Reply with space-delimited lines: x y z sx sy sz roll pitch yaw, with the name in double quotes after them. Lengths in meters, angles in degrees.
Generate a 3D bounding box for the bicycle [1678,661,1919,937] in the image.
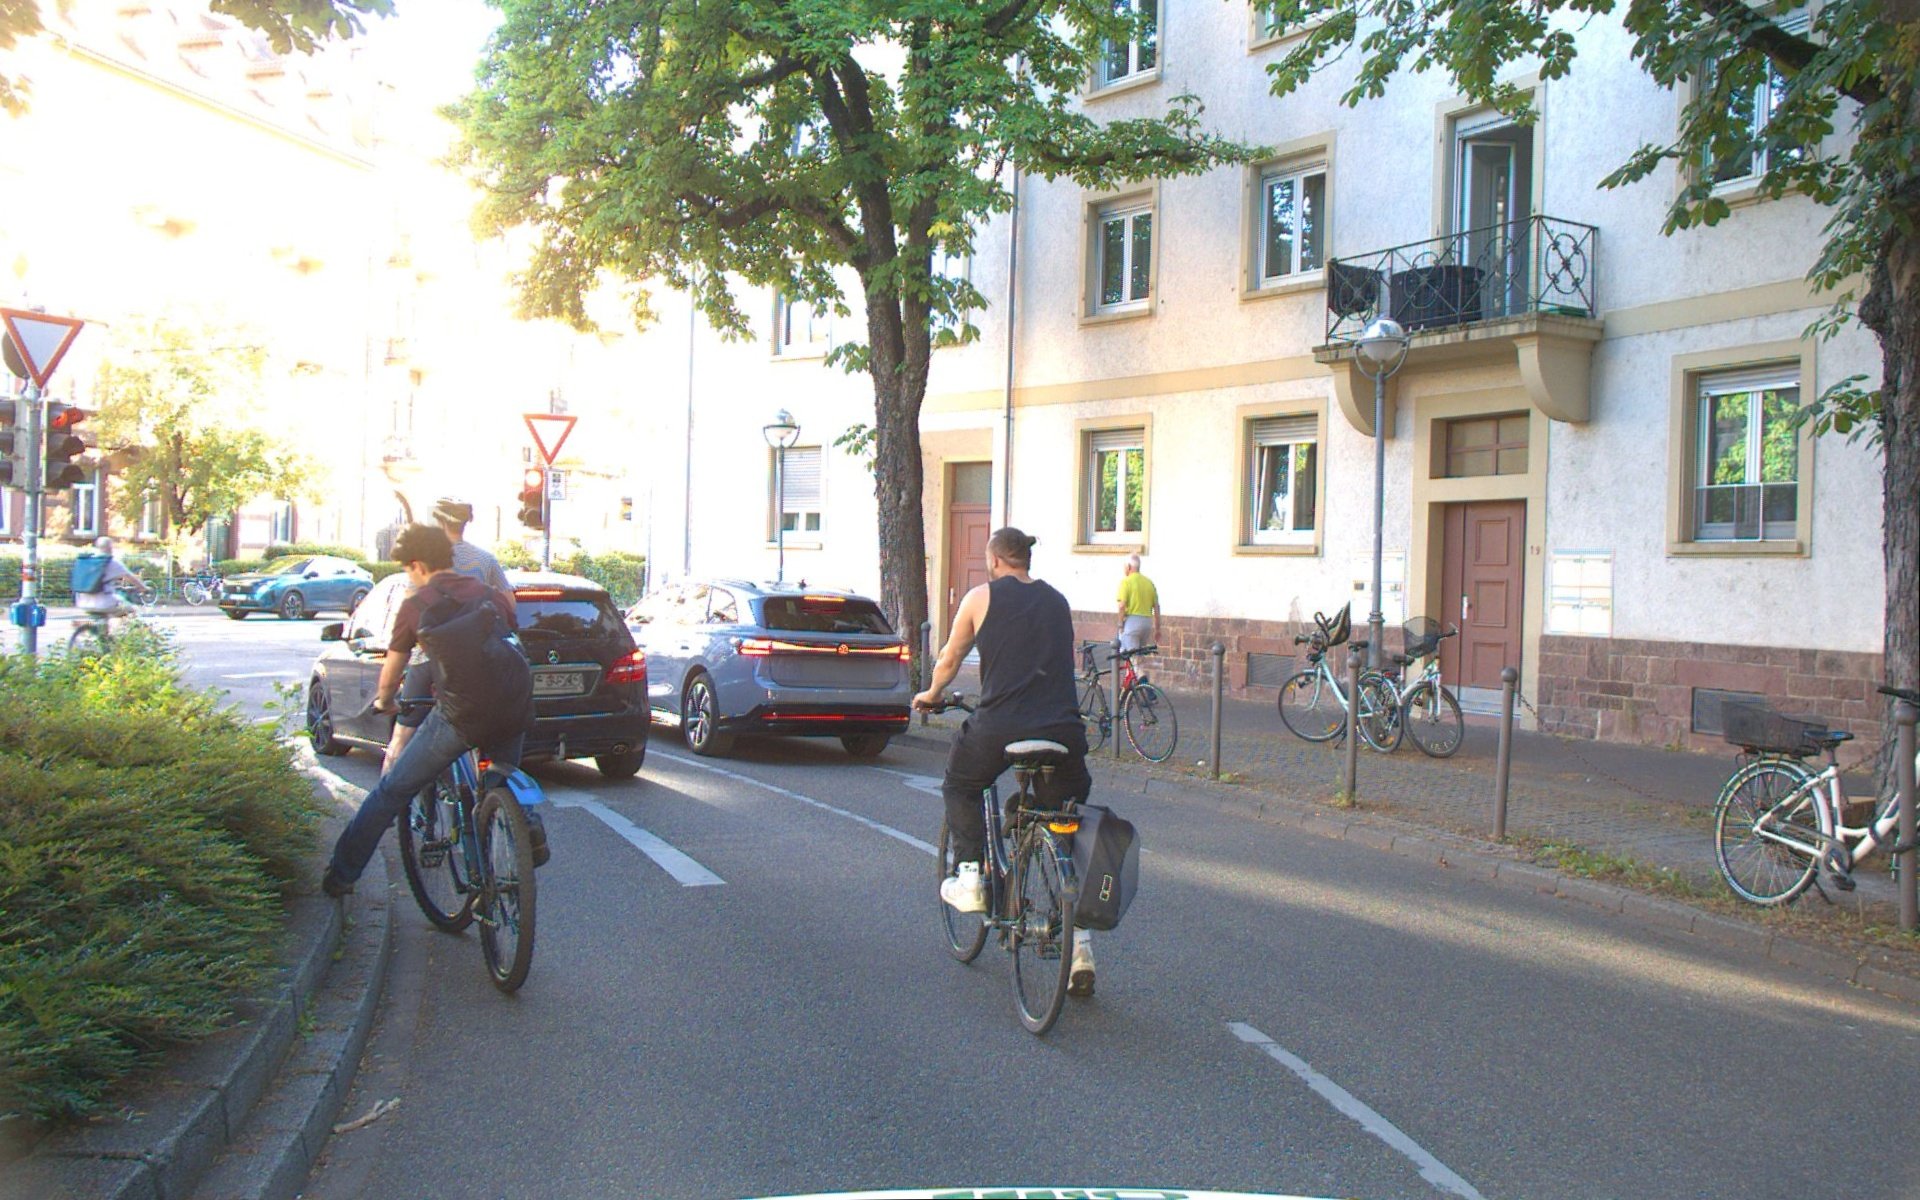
4.257 0.896 7.654 0.505 1.114 1.962 0 1 -20 "bicycle"

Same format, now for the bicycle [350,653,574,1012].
-1.931 0.830 6.651 0.705 1.126 1.960 2 0 -13 "bicycle"

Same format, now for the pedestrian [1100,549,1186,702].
2.167 0.280 19.652 0.635 1.757 0.880 -1 2 -27 "pedestrian"

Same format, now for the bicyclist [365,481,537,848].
-2.892 0.342 9.353 0.783 1.946 0.938 2 0 -23 "bicyclist"

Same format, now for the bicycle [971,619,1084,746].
0.631 0.767 16.026 0.474 1.082 1.625 -1 2 -22 "bicycle"

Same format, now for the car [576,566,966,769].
-1.959 0.559 15.775 1.951 1.613 4.427 4 -1 -32 "car"

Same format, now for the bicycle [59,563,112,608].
-22.965 -0.379 43.446 0.433 1.126 1.233 3 1 22 "bicycle"

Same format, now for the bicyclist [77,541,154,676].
-10.496 0.102 20.567 0.517 1.626 0.675 2 0 10 "bicyclist"

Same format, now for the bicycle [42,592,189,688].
-10.492 0.469 20.624 0.523 1.126 1.968 2 0 10 "bicycle"

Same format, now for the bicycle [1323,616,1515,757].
4.111 0.749 14.983 0.657 1.126 1.956 2 0 -19 "bicycle"

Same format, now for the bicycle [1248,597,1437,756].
3.414 0.638 14.955 0.707 1.299 1.955 0 1 -21 "bicycle"

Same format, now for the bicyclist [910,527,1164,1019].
0.260 0.587 6.226 0.675 1.685 0.985 0 1 -15 "bicyclist"

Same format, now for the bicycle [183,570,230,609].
-21.499 -0.297 47.183 0.433 1.056 1.234 3 1 21 "bicycle"

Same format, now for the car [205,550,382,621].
-17.204 -0.363 42.949 1.901 1.678 4.413 2 1 17 "car"

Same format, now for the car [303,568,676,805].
-3.854 0.538 13.116 1.774 1.569 3.814 -1 1 -34 "car"

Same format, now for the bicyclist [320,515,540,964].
-2.027 0.501 6.441 0.695 1.601 0.953 2 0 -14 "bicyclist"

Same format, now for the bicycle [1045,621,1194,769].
1.362 0.792 14.463 0.519 1.126 1.728 -1 2 -24 "bicycle"

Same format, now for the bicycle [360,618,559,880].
-2.837 0.742 9.203 0.799 1.205 2.211 2 1 -23 "bicycle"

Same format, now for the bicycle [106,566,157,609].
-22.397 -0.328 44.735 0.433 1.126 1.233 3 1 22 "bicycle"

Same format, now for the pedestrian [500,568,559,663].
-7.933 0.283 30.490 0.889 1.663 0.721 3 1 -21 "pedestrian"

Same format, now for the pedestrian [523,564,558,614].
-15.054 -0.392 59.337 0.698 1.693 0.895 5 2 33 "pedestrian"
